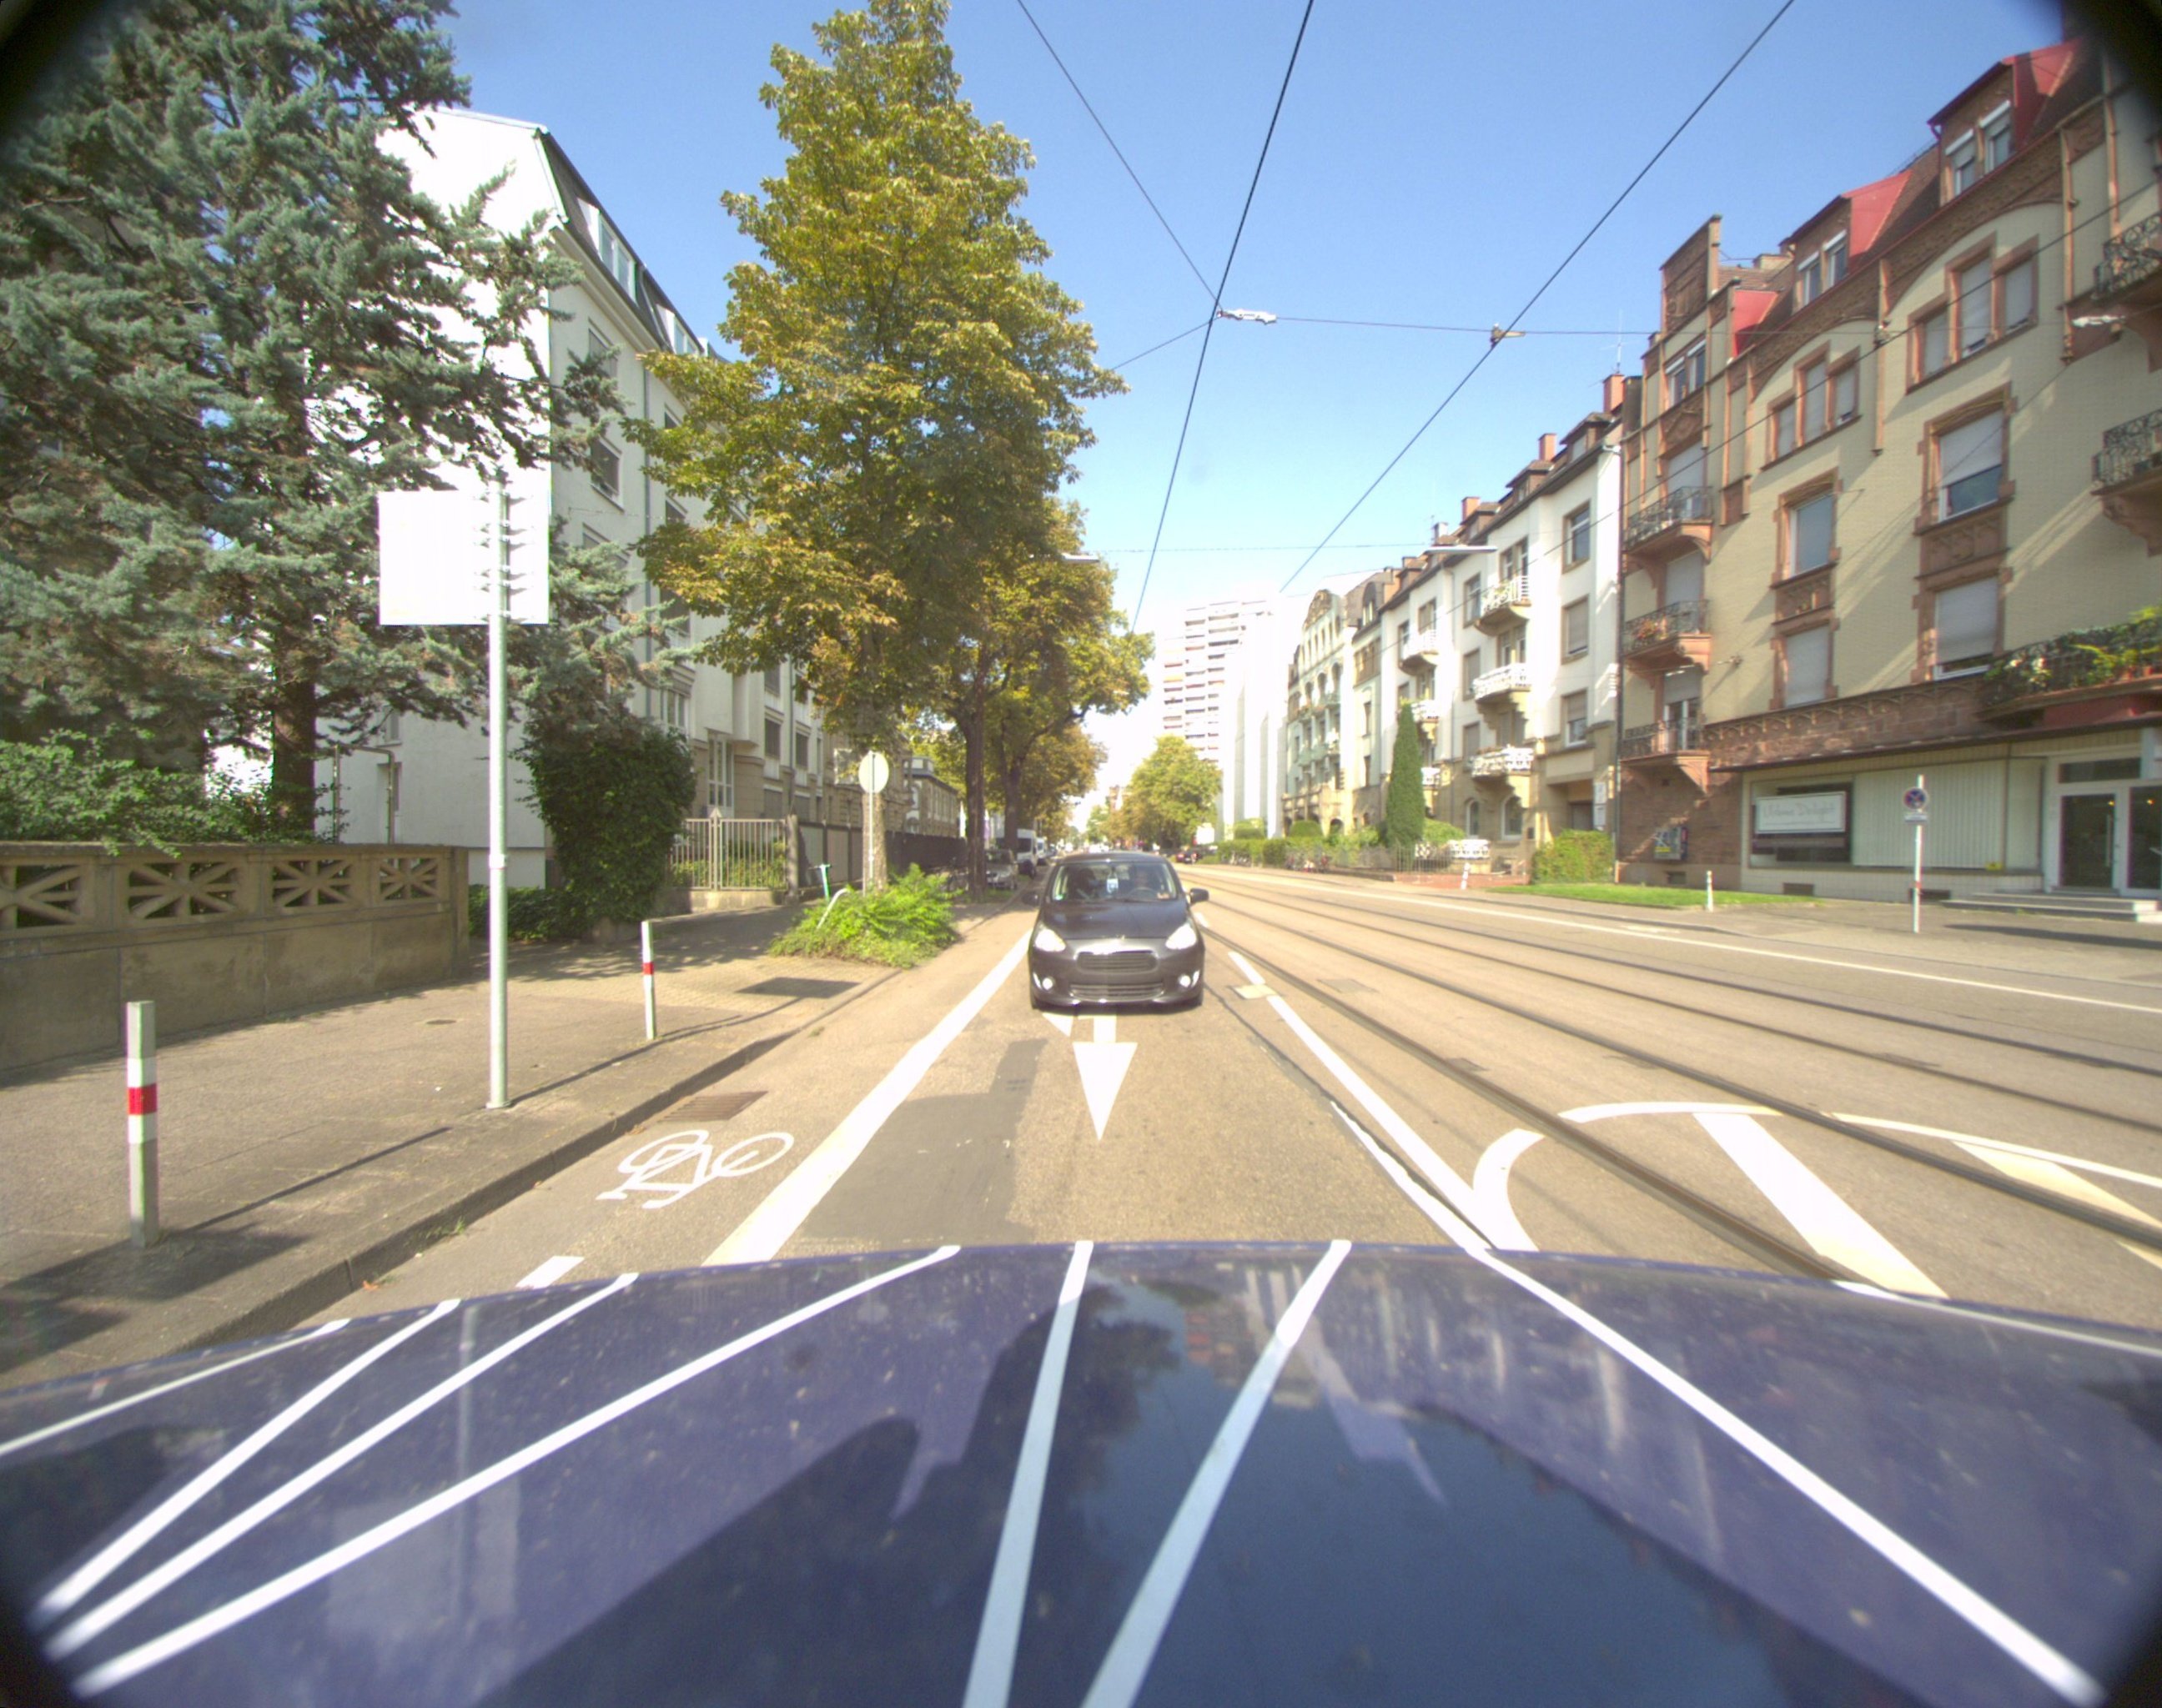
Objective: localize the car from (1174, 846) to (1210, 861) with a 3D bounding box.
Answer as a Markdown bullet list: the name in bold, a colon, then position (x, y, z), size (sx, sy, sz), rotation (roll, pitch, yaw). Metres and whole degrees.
- **car**: position (11.568, -0.104, 78.974), size (1.767, 1.518, 4.008), rotation (1, 1, 40)

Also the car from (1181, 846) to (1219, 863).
- **car**: position (11.355, 0.015, 72.340), size (1.767, 1.518, 4.008), rotation (1, 1, 40)

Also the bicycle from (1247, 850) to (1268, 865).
- **bicycle**: position (12.630, 0.244, 54.337), size (1.397, 1.081, 0.425), rotation (0, 1, -19)

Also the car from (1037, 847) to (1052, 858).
- **car**: position (-4.539, -0.173, 94.384), size (1.757, 1.349, 3.786), rotation (0, 1, -2)

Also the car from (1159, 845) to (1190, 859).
- **car**: position (10.980, -0.256, 89.280), size (1.767, 1.518, 4.008), rotation (1, 1, 40)

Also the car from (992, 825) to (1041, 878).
- **car**: position (-3.227, -0.140, 39.074), size (2.051, 2.484, 6.227), rotation (1, 1, -1)

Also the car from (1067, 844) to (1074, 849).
- **car**: position (-3.241, -2.490, 242.166), size (1.999, 1.572, 4.156), rotation (0, 1, -4)

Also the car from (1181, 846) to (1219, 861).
- **car**: position (11.974, -0.070, 76.140), size (1.767, 1.518, 4.008), rotation (1, 1, 45)

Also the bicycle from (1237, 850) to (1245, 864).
- **bicycle**: position (12.097, 0.220, 57.428), size (0.425, 1.081, 1.677), rotation (0, 1, 8)

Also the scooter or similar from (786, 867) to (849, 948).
- **scooter or similar**: position (-4.299, 0.850, 12.447), size (0.559, 1.190, 1.034), rotation (3, 2, 4)

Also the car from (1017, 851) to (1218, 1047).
- **car**: position (0.258, 0.768, 8.373), size (1.611, 1.515, 4.356), rotation (-1, 1, -1)

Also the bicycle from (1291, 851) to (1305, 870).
- **bicycle**: position (12.416, 0.368, 43.553), size (0.371, 1.081, 1.354), rotation (0, 1, -2)

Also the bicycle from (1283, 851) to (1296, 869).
- **bicycle**: position (12.430, 0.355, 45.324), size (0.371, 1.081, 1.354), rotation (0, 1, -2)

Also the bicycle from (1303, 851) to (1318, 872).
- **bicycle**: position (12.303, 0.408, 40.793), size (0.371, 1.081, 1.354), rotation (0, 1, -2)

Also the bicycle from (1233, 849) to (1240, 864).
- **bicycle**: position (11.929, 0.198, 58.234), size (0.425, 1.081, 1.677), rotation (0, 1, 8)

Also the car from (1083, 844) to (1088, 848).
- **car**: position (1.445, -2.575, 257.801), size (1.757, 1.349, 3.787), rotation (0, 1, 0)

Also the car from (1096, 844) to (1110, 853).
- **car**: position (3.774, -1.026, 130.498), size (1.877, 1.446, 4.542), rotation (3, 1, -4)

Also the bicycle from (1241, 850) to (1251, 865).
- **bicycle**: position (11.989, 0.261, 55.329), size (0.425, 1.081, 1.676), rotation (0, 1, 3)

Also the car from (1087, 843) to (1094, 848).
- **car**: position (2.572, -2.456, 214.659), size (1.701, 1.395, 4.644), rotation (-1, 1, -2)

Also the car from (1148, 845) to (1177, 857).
- **car**: position (10.558, -0.403, 98.120), size (1.767, 1.518, 4.008), rotation (1, 1, 40)

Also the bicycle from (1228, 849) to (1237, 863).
- **bicycle**: position (12.010, 0.169, 60.246), size (0.425, 1.081, 1.676), rotation (0, 1, 1)

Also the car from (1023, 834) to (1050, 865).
- **car**: position (-3.837, -0.415, 66.039), size (1.999, 2.526, 5.866), rotation (2, 1, -1)

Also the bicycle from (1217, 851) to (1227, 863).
- **bicycle**: position (11.823, 0.221, 63.576), size (0.425, 0.972, 1.769), rotation (0, 1, -2)

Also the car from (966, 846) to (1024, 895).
- **car**: position (-3.021, 0.537, 27.351), size (1.611, 1.515, 4.356), rotation (3, 1, -1)

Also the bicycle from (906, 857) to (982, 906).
- **bicycle**: position (-3.533, 0.705, 19.654), size (1.846, 1.160, 0.503), rotation (2, 5, -41)

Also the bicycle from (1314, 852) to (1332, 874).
- **bicycle**: position (12.427, 0.438, 39.021), size (0.371, 1.081, 1.487), rotation (0, 1, -2)

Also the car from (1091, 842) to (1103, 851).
- **car**: position (3.373, -1.644, 162.458), size (1.999, 2.002, 4.856), rotation (0, 1, -4)

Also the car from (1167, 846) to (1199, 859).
- **car**: position (11.608, -0.192, 86.440), size (1.767, 1.518, 4.008), rotation (1, 1, 40)
